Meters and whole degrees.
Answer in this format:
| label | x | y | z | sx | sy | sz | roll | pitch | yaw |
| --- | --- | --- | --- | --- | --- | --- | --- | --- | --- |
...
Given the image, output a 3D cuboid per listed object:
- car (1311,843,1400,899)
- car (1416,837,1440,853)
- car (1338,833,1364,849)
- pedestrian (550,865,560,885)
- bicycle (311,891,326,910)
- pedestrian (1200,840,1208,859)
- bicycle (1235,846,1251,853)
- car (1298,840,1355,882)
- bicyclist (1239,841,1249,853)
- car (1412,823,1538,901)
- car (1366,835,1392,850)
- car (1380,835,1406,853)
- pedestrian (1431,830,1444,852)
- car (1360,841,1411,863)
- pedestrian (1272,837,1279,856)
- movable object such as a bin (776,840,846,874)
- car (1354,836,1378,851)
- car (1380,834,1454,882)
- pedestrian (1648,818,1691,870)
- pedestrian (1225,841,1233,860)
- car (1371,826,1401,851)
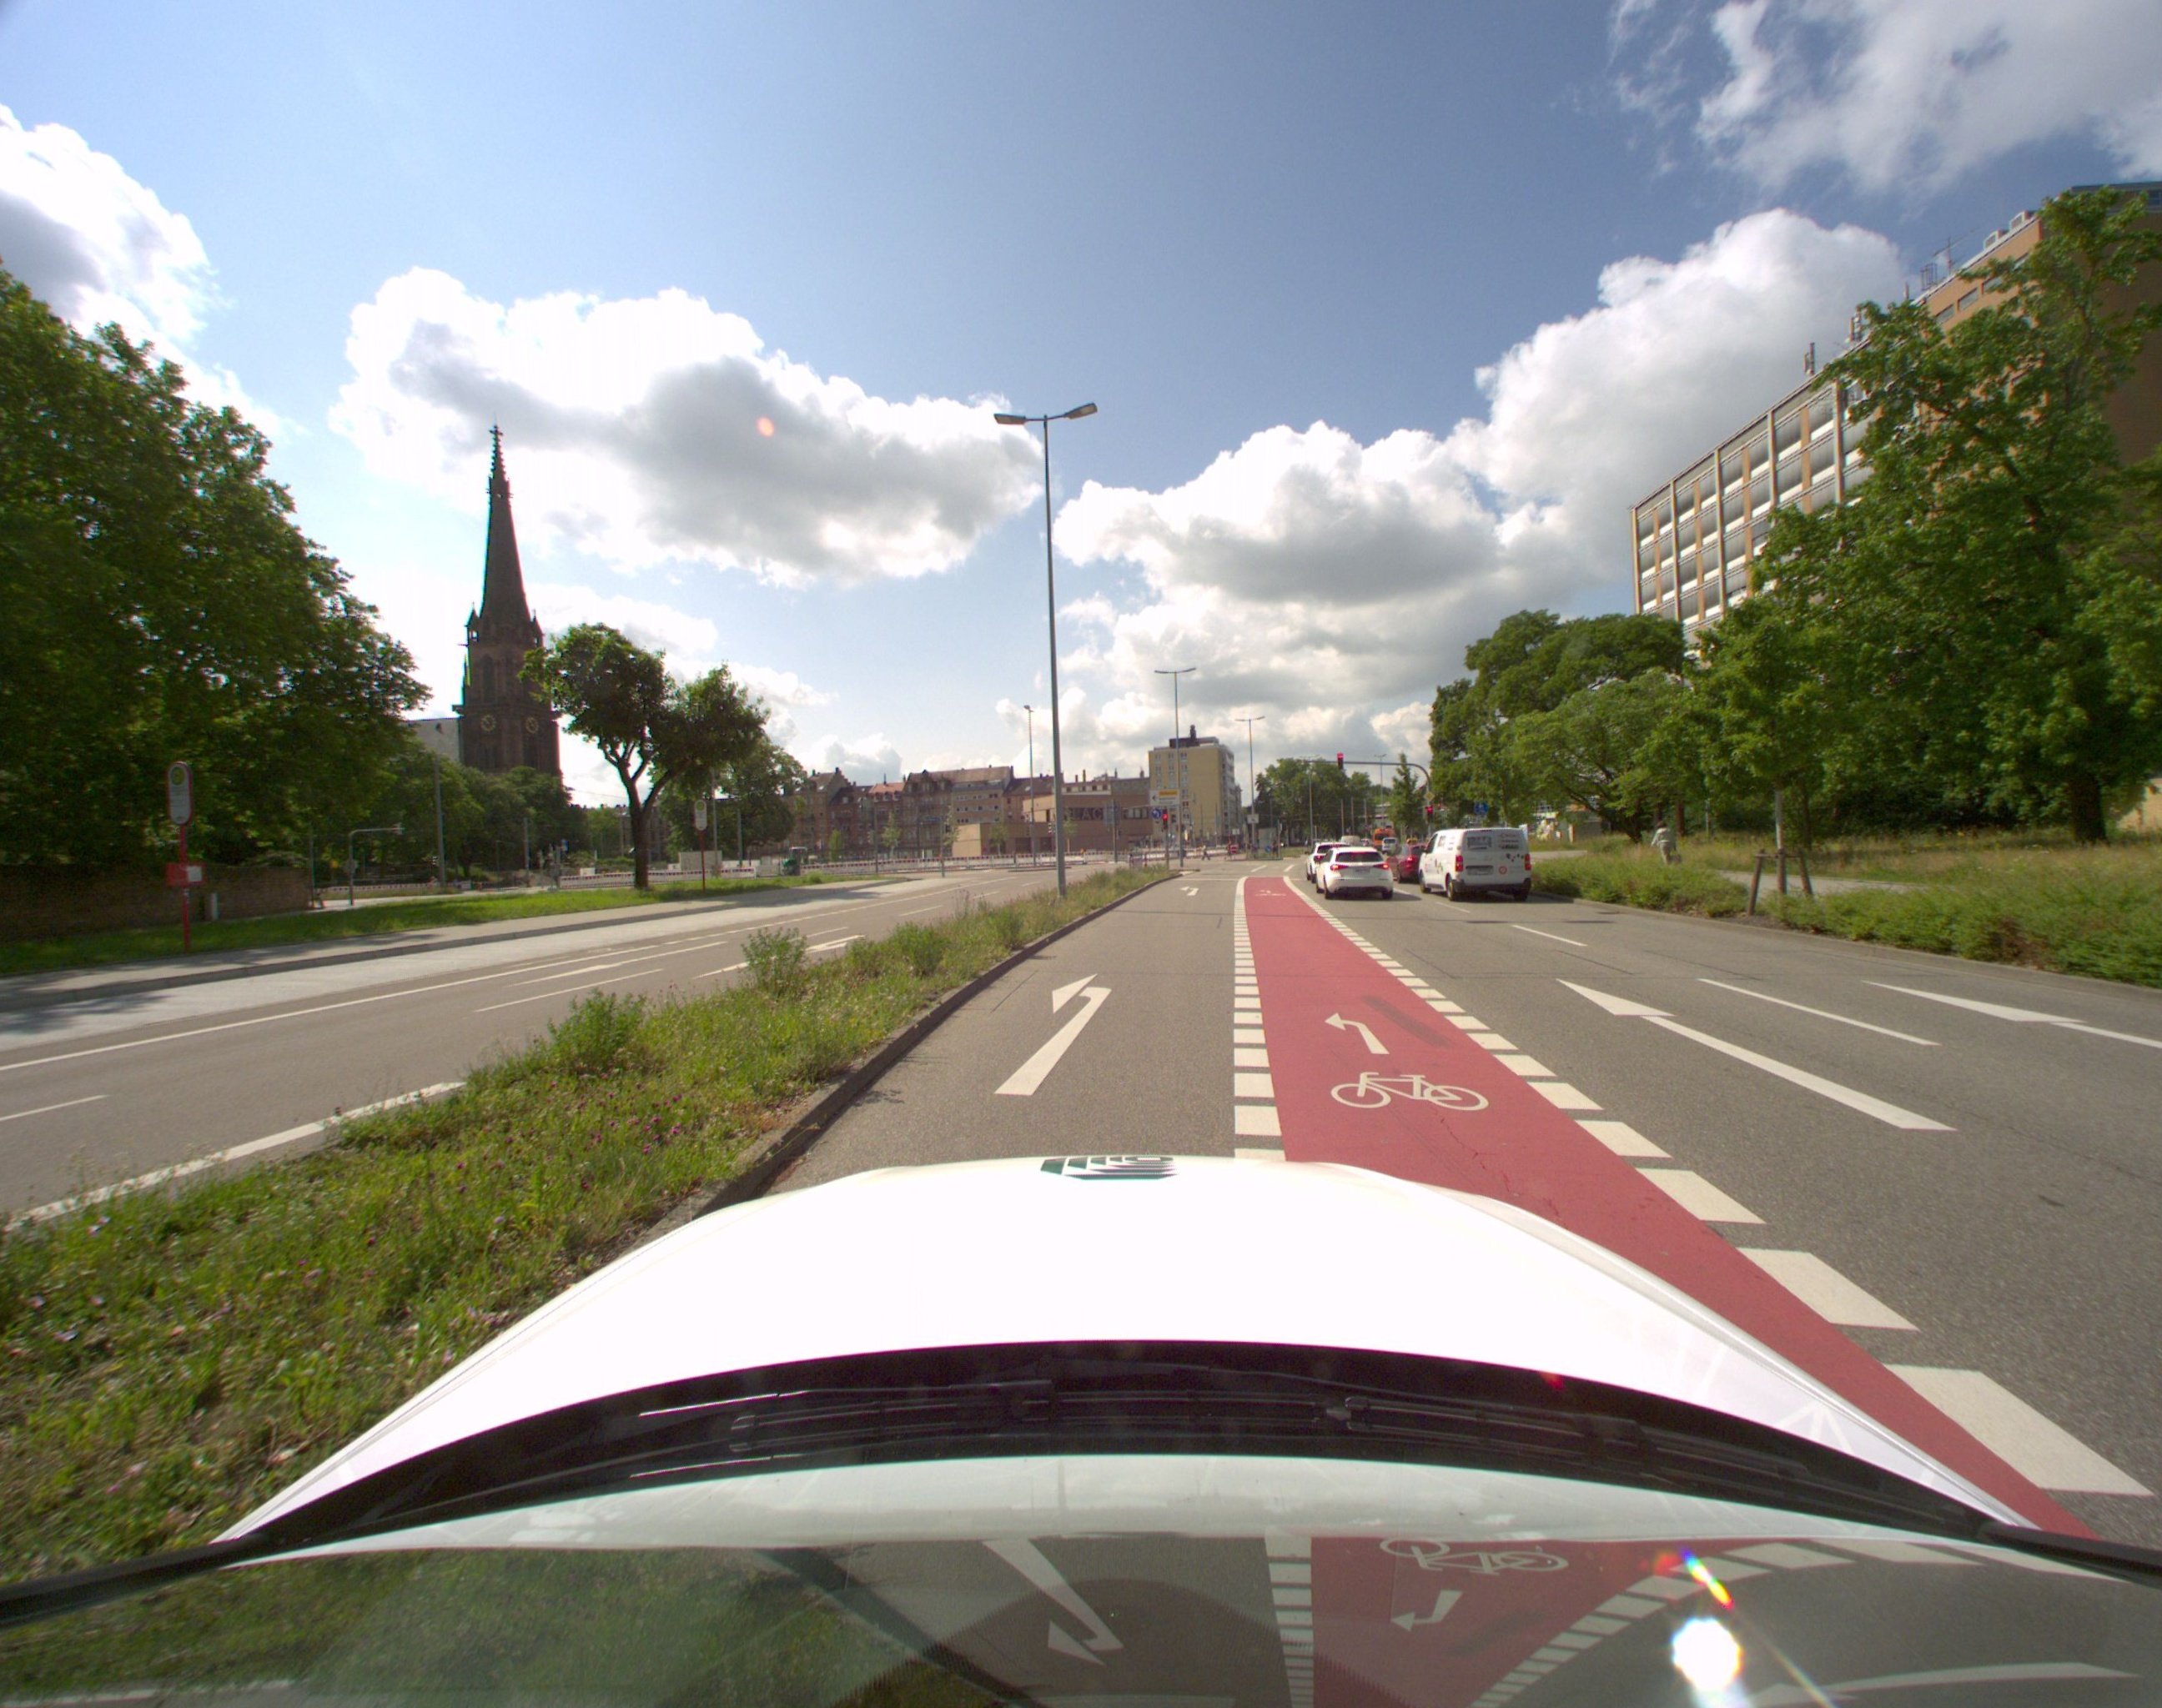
| label | x | y | z | sx | sy | sz | roll | pitch | yaw |
| --- | --- | --- | --- | --- | --- | --- | --- | --- | --- |
| car | 7.877 | 0.426 | 23.779 | 1.891 | 1.424 | 4.399 | -2 | 1 | 11 |
| car | 46.906 | -1.257 | 109.977 | 1.972 | 1.938 | 4.669 | -3 | 0 | 35 |
| car | 35.439 | -1.734 | 106.750 | 1.986 | 1.966 | 4.669 | -3 | 0 | 35 |
| pedestrian | -48.933 | 1.981 | 75.824 | 0.523 | 1.850 | 0.502 | -3 | 0 | 17 |
| bicycle | -41.169 | 2.486 | 43.977 | 0.396 | 0.992 | 1.505 | -2 | 0 | -37 |
| pedestrian | 11.315 | -0.452 | 74.750 | 0.520 | 1.733 | 0.627 | -2 | 0 | 20 |
| bicycle | 26.772 | -0.672 | 134.846 | 2.356 | 1.066 | 0.864 | -2 | 0 | 31 |
| car | 9.636 | 0.238 | 32.190 | 1.779 | 1.539 | 4.024 | 0 | 1 | 11 |
| bicyclist | 26.968 | -1.102 | 134.728 | 1.207 | 1.909 | 0.864 | -2 | 0 | 31 |
| car | 10.629 | 0.160 | 22.393 | 1.929 | 1.870 | 4.841 | -2 | 1 | 11 |
| car | 38.124 | -1.483 | 104.094 | 1.974 | 1.826 | 4.026 | -3 | 0 | 36 |
| car | 33.289 | -1.063 | 86.893 | 1.974 | 1.795 | 4.025 | -3 | 0 | 30 |
| pedestrian | 25.802 | -0.946 | 58.991 | 0.764 | 1.508 | 0.554 | -2 | 0 | 16 |
| car | 25.776 | -0.138 | 68.895 | 4.013 | 1.816 | 1.981 | 0 | 0 | -31 |
| pedestrian | 17.519 | -0.690 | 73.276 | 0.520 | 1.684 | 0.627 | -2 | 0 | 20 |
| movable object such as a bin | -24.736 | 0.281 | 74.659 | 5.567 | 2.884 | 2.263 | -2 | 0 | -36 |
| car | 39.987 | -1.453 | 114.109 | 1.972 | 1.938 | 4.669 | -3 | 0 | 35 |
| car | 12.452 | 0.110 | 30.430 | 1.670 | 1.641 | 4.476 | -2 | 1 | 11 |
| pedestrian | 19.177 | -0.335 | 26.547 | 0.862 | 1.638 | 0.723 | -2 | 0 | 12 |
| pedestrian | 13.280 | -0.303 | 72.958 | 0.520 | 1.733 | 0.627 | -2 | 0 | 20 |
| car | 36.181 | -1.871 | 96.431 | 2.109 | 2.780 | 4.669 | -3 | 0 | 35 |
